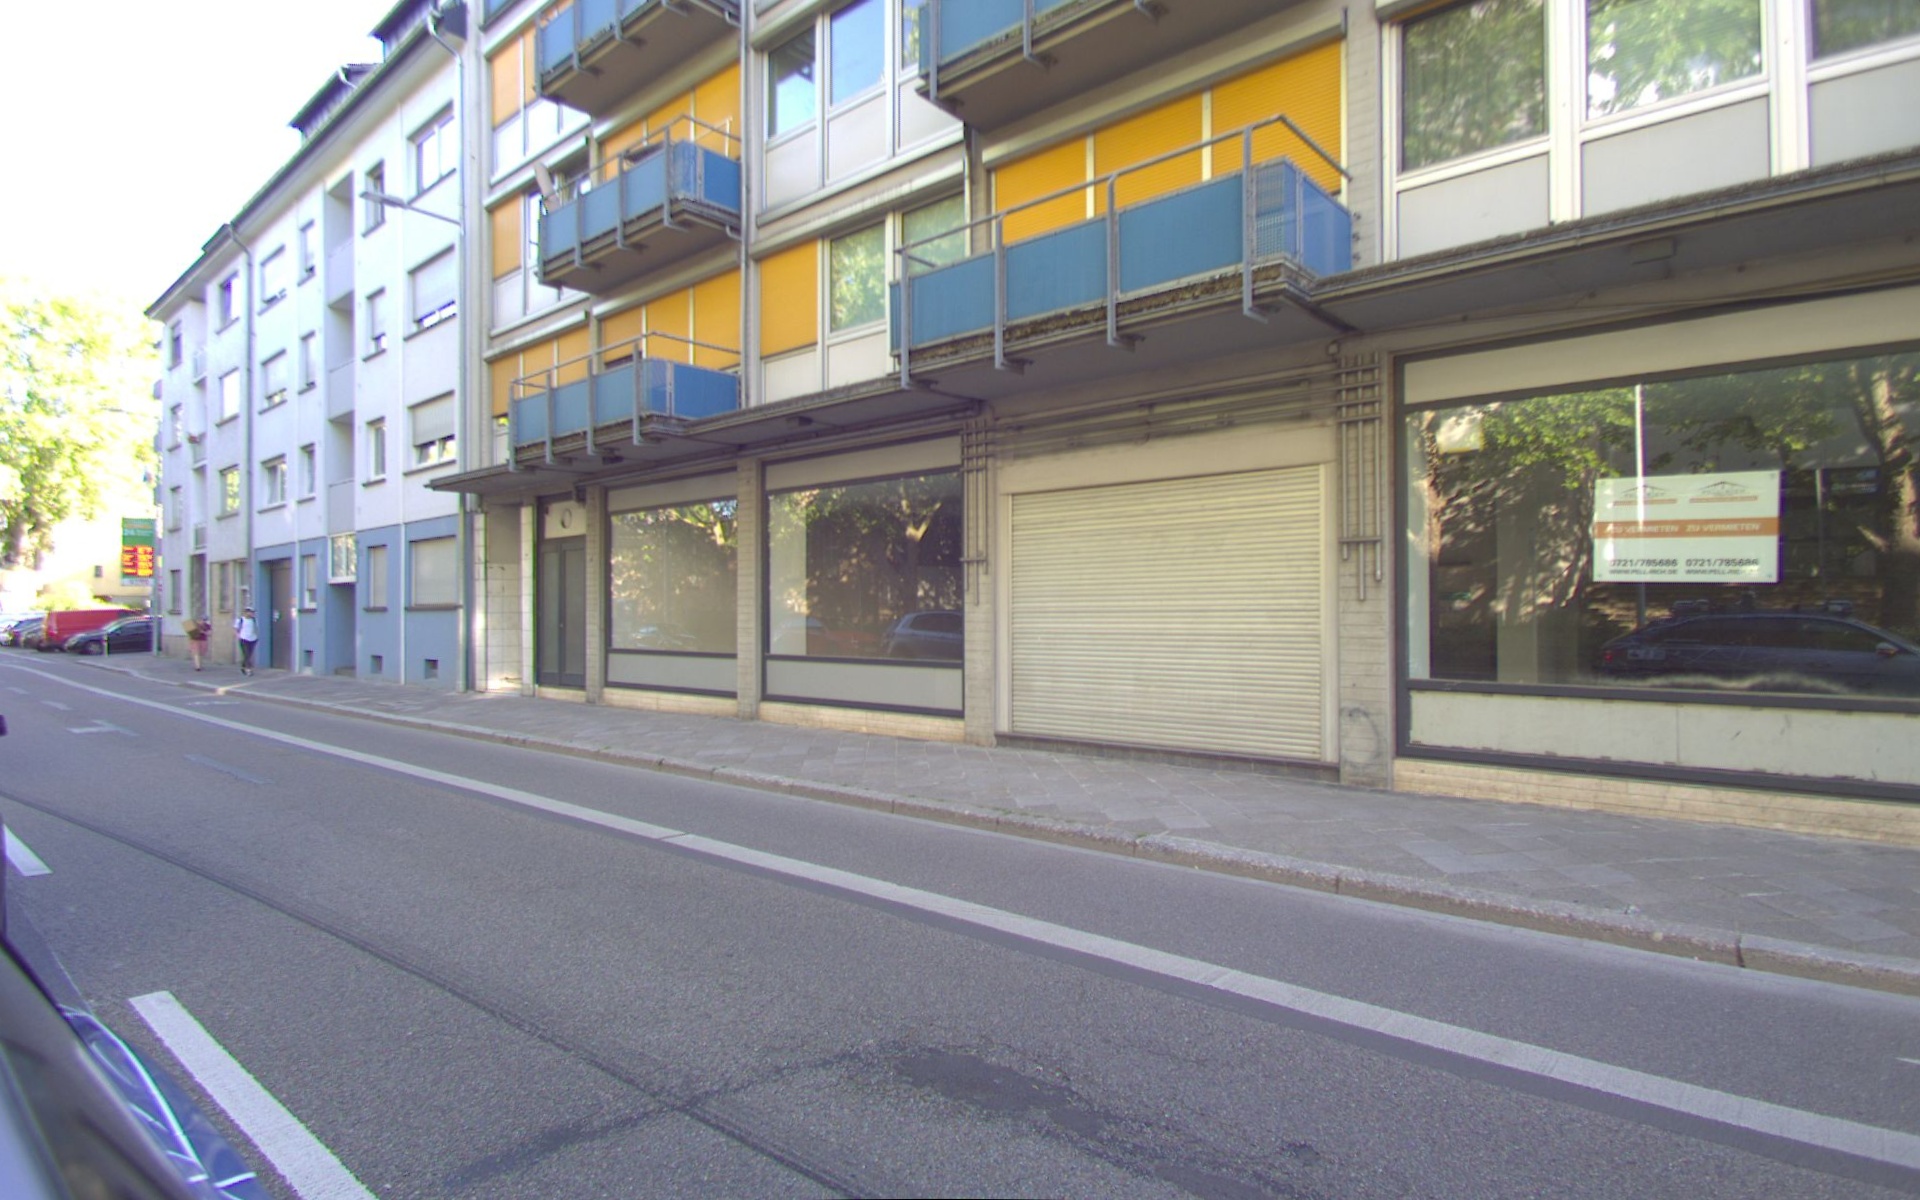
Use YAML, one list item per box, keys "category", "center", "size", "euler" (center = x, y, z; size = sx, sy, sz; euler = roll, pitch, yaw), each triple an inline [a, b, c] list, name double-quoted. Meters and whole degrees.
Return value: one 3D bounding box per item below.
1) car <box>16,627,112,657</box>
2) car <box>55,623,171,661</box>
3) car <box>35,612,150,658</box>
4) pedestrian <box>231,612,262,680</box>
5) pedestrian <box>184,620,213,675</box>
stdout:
- category: "car"
  center: [-42.932, 2.005, 48.529]
  size: [1.294, 1.258, 3.283]
  euler: [-1, 0, 41]
- category: "car"
  center: [-36.660, 1.775, 43.864]
  size: [1.635, 1.422, 3.623]
  euler: [-1, 0, 41]
- category: "car"
  center: [-40.550, 1.588, 47.366]
  size: [1.635, 1.937, 3.878]
  euler: [-2, 0, 41]
- category: "pedestrian"
  center: [-18.607, 1.193, 26.399]
  size: [0.343, 1.739, 0.562]
  euler: [-2, 0, 41]
- category: "pedestrian"
  center: [-21.973, 1.365, 29.205]
  size: [0.343, 1.529, 0.562]
  euler: [-2, 0, 41]
